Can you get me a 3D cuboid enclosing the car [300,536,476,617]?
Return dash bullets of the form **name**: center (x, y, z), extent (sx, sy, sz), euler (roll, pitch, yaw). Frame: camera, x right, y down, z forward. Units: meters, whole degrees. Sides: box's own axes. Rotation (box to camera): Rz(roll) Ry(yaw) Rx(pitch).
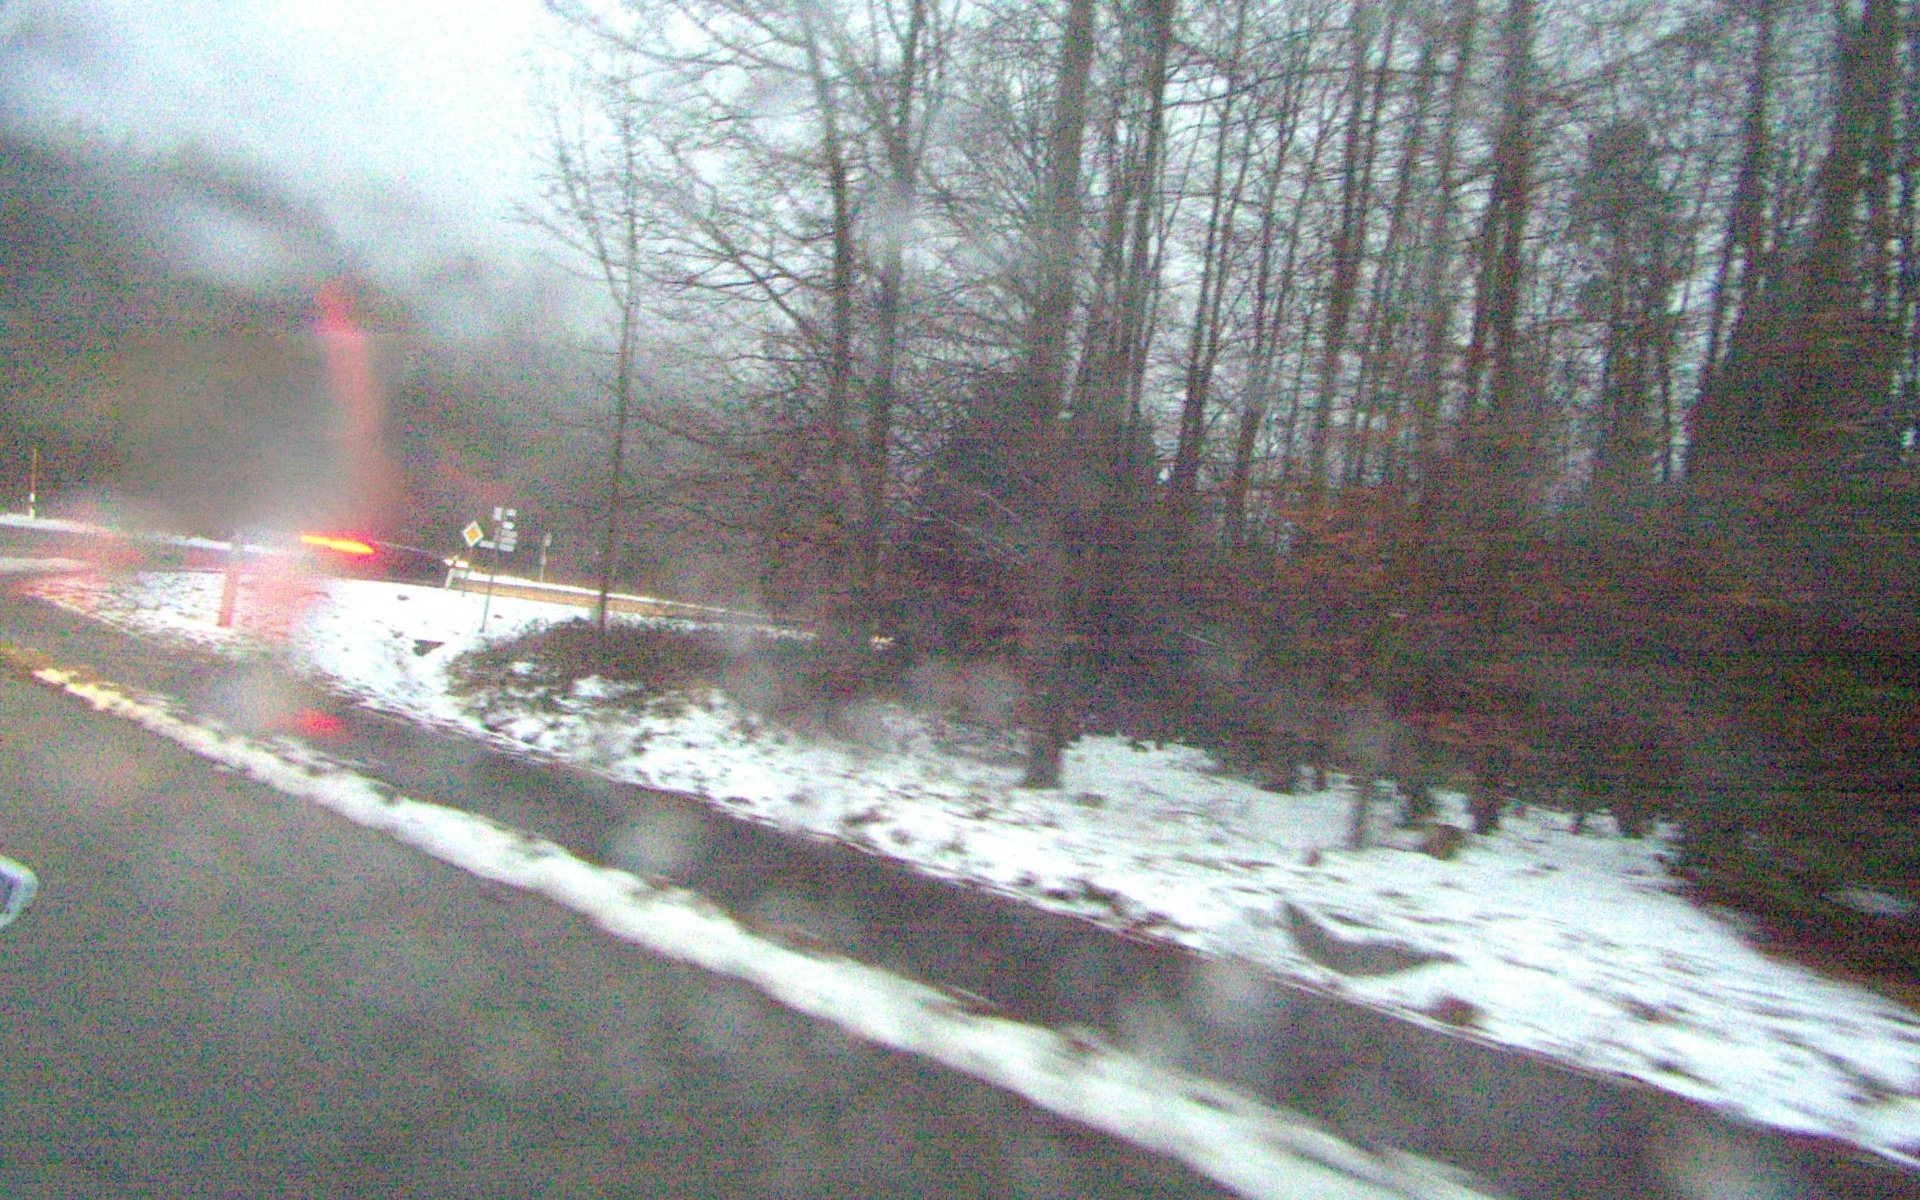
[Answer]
- **car**: center (-18.708, -0.689, 33.220), extent (1.654, 1.967, 5.026), euler (7, -3, 20)
